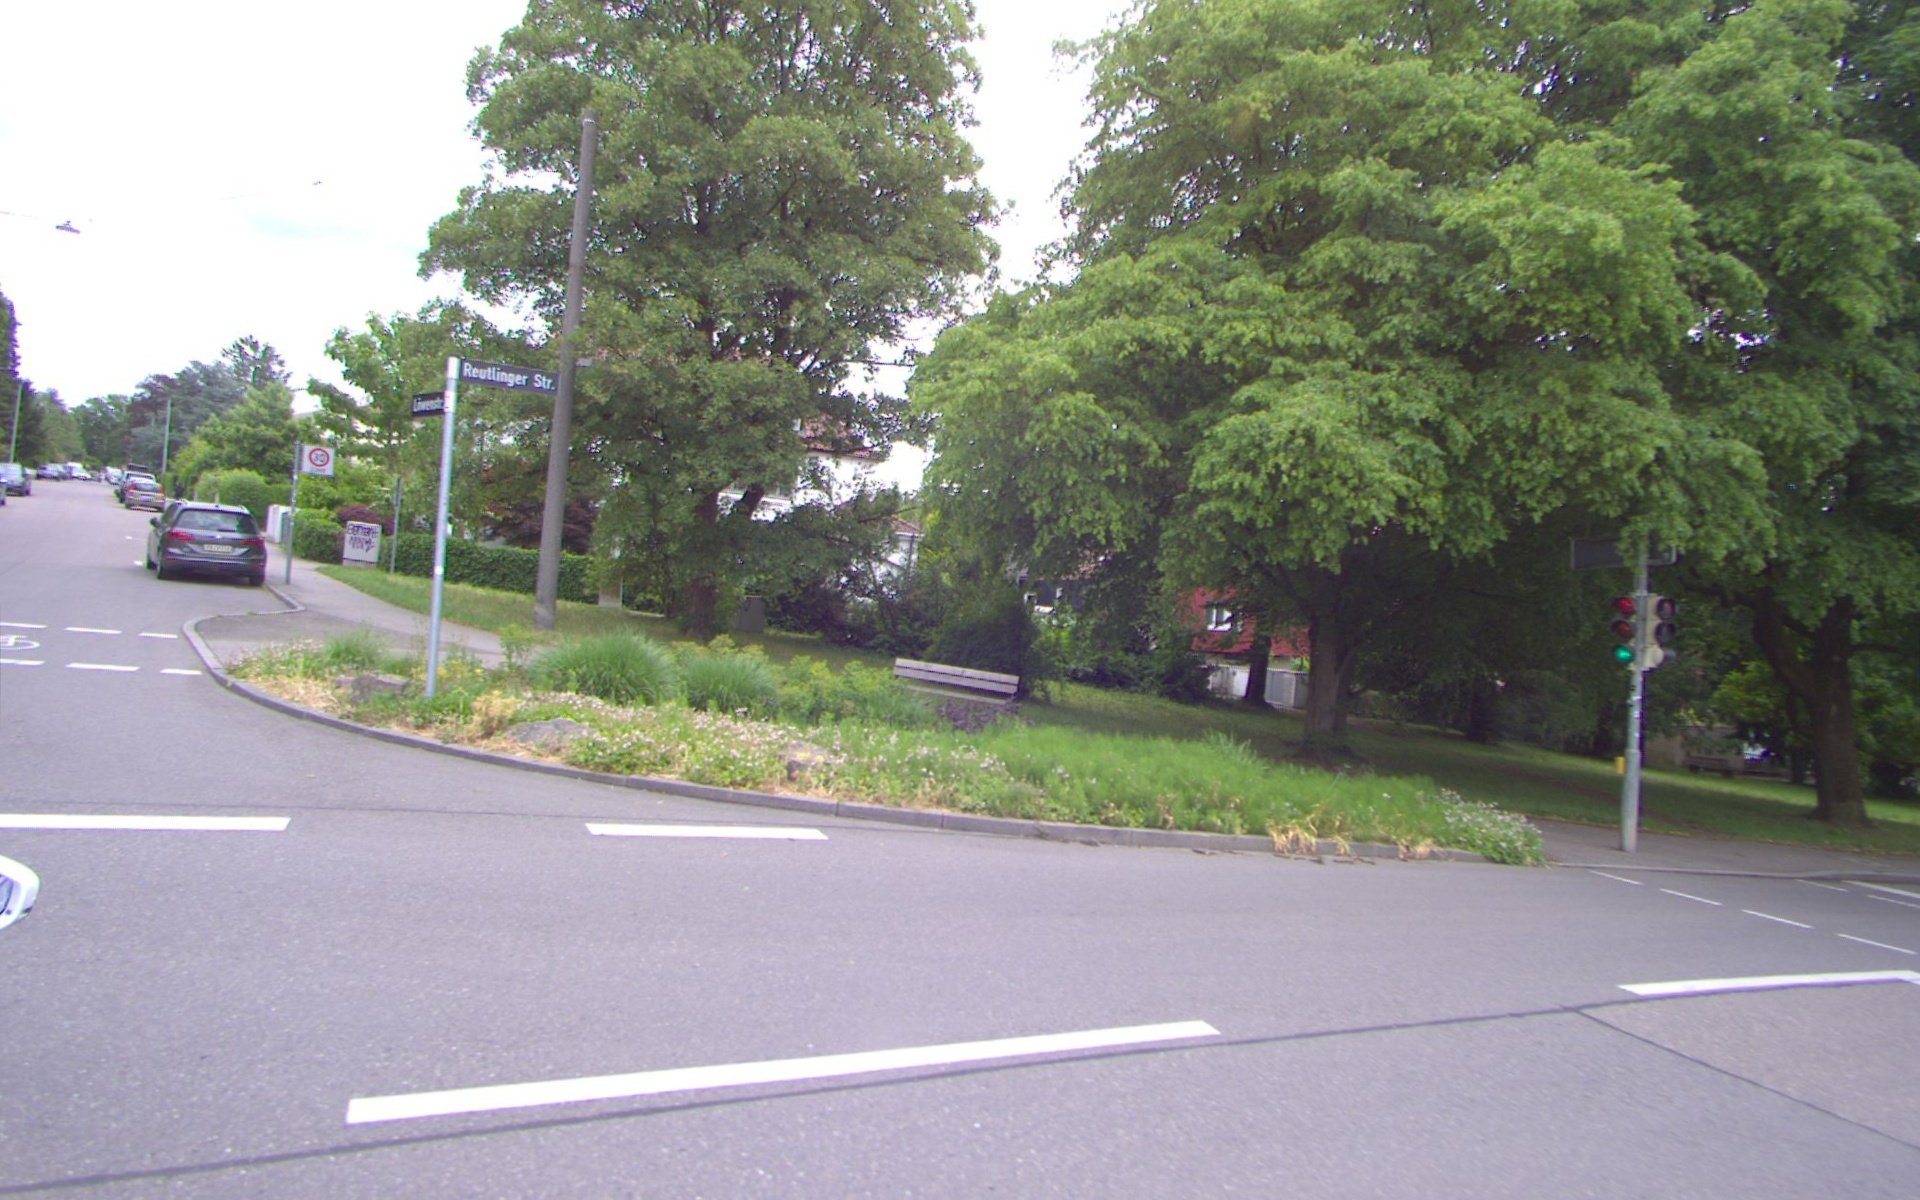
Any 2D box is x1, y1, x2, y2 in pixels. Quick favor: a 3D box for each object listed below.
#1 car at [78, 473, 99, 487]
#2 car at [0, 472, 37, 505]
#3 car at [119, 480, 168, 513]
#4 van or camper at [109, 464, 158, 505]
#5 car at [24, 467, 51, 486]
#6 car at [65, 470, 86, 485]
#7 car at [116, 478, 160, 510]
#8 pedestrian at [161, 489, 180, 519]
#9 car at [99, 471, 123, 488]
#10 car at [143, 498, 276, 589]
[{"bbox_3d":[-119.552,-16.468,137.956,3.947,1.594,1.810,7,1,44],"label":"car"},{"bbox_3d":[-50.447,-5.956,53.438,1.940,1.460,3.950,6,1,-44],"label":"car"},{"bbox_3d":[-43.418,-5.510,53.475,1.605,1.430,3.429,8,-1,-44],"label":"car"},{"bbox_3d":[-57.233,-7.947,69.637,2.105,2.435,5.180,5,1,-44],"label":"van or camper"},{"bbox_3d":[-89.551,-12.001,97.668,1.709,1.480,3.613,8,-1,-42],"label":"car"},{"bbox_3d":[-101.574,-14.073,115.470,1.650,1.351,3.735,8,-1,-42],"label":"car"},{"bbox_3d":[-49.852,-6.412,61.015,1.741,1.661,3.682,5,1,-43],"label":"car"},{"bbox_3d":[-52.361,-6.375,66.733,0.754,1.894,0.612,7,0,-42],"label":"pedestrian"},{"bbox_3d":[-112.833,-15.989,133.737,4.140,1.817,1.936,7,-1,44],"label":"car"},{"bbox_3d":[-15.789,-1.217,21.091,1.810,1.556,3.952,5,1,-42],"label":"car"}]
